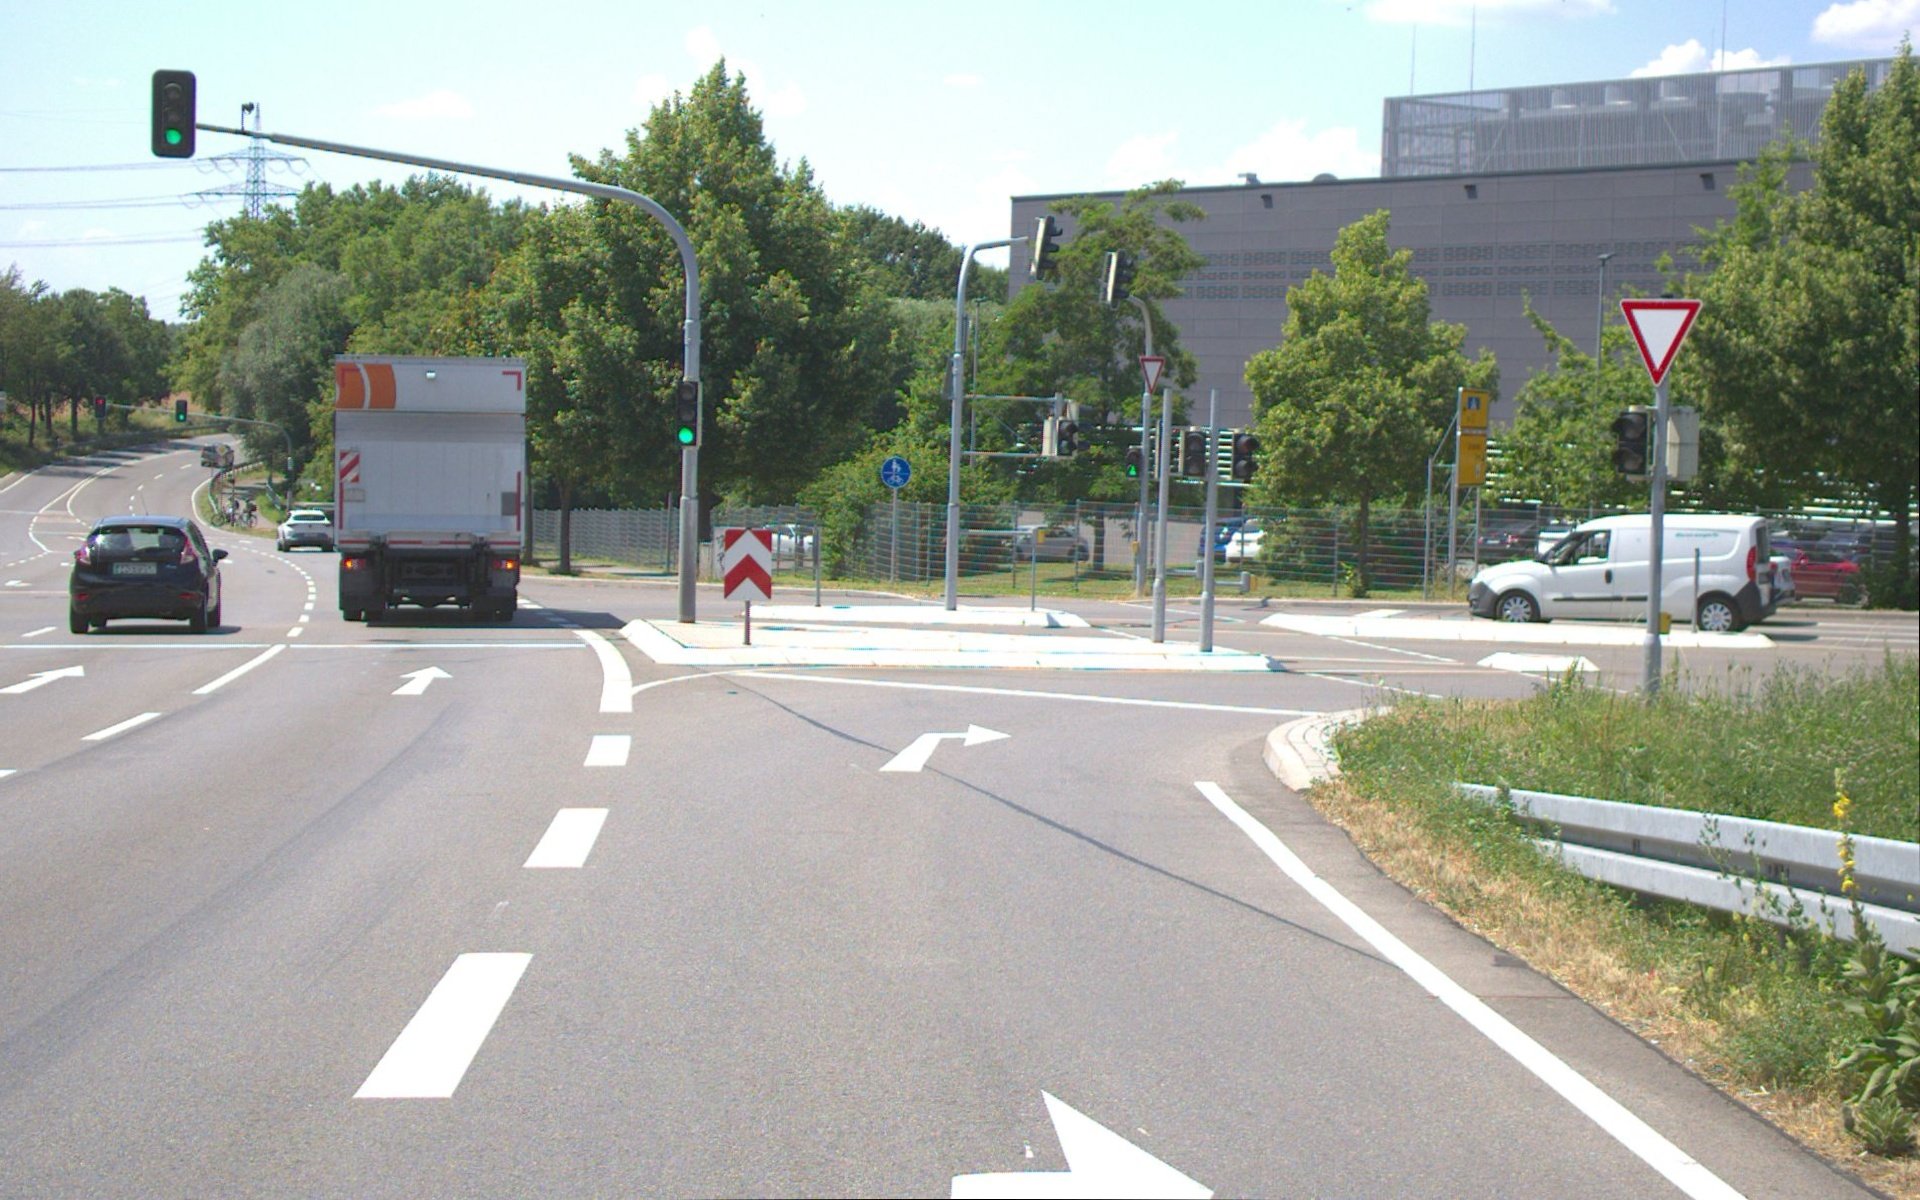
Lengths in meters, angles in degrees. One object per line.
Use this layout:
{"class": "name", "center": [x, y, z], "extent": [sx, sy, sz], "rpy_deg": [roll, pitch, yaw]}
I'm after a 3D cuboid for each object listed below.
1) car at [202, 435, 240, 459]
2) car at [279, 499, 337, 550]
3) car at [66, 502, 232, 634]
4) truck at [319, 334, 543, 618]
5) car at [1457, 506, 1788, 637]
{"class": "car", "center": [-53.640, -11.091, 249.530], "extent": [1.993, 1.678, 4.001], "rpy_deg": [1, 1, -2]}
{"class": "car", "center": [-23.575, -2.743, 124.237], "extent": [1.943, 1.658, 4.002], "rpy_deg": [4, 2, -11]}
{"class": "car", "center": [-10.394, -0.445, 44.288], "extent": [1.652, 1.488, 4.209], "rpy_deg": [1, 3, -8]}
{"class": "truck", "center": [-7.556, -1.809, 50.058], "extent": [2.803, 3.698, 9.110], "rpy_deg": [1, 2, -7]}
{"class": "car", "center": [10.385, -0.472, 53.855], "extent": [4.750, 1.925, 2.151], "rpy_deg": [1, 1, 21]}
